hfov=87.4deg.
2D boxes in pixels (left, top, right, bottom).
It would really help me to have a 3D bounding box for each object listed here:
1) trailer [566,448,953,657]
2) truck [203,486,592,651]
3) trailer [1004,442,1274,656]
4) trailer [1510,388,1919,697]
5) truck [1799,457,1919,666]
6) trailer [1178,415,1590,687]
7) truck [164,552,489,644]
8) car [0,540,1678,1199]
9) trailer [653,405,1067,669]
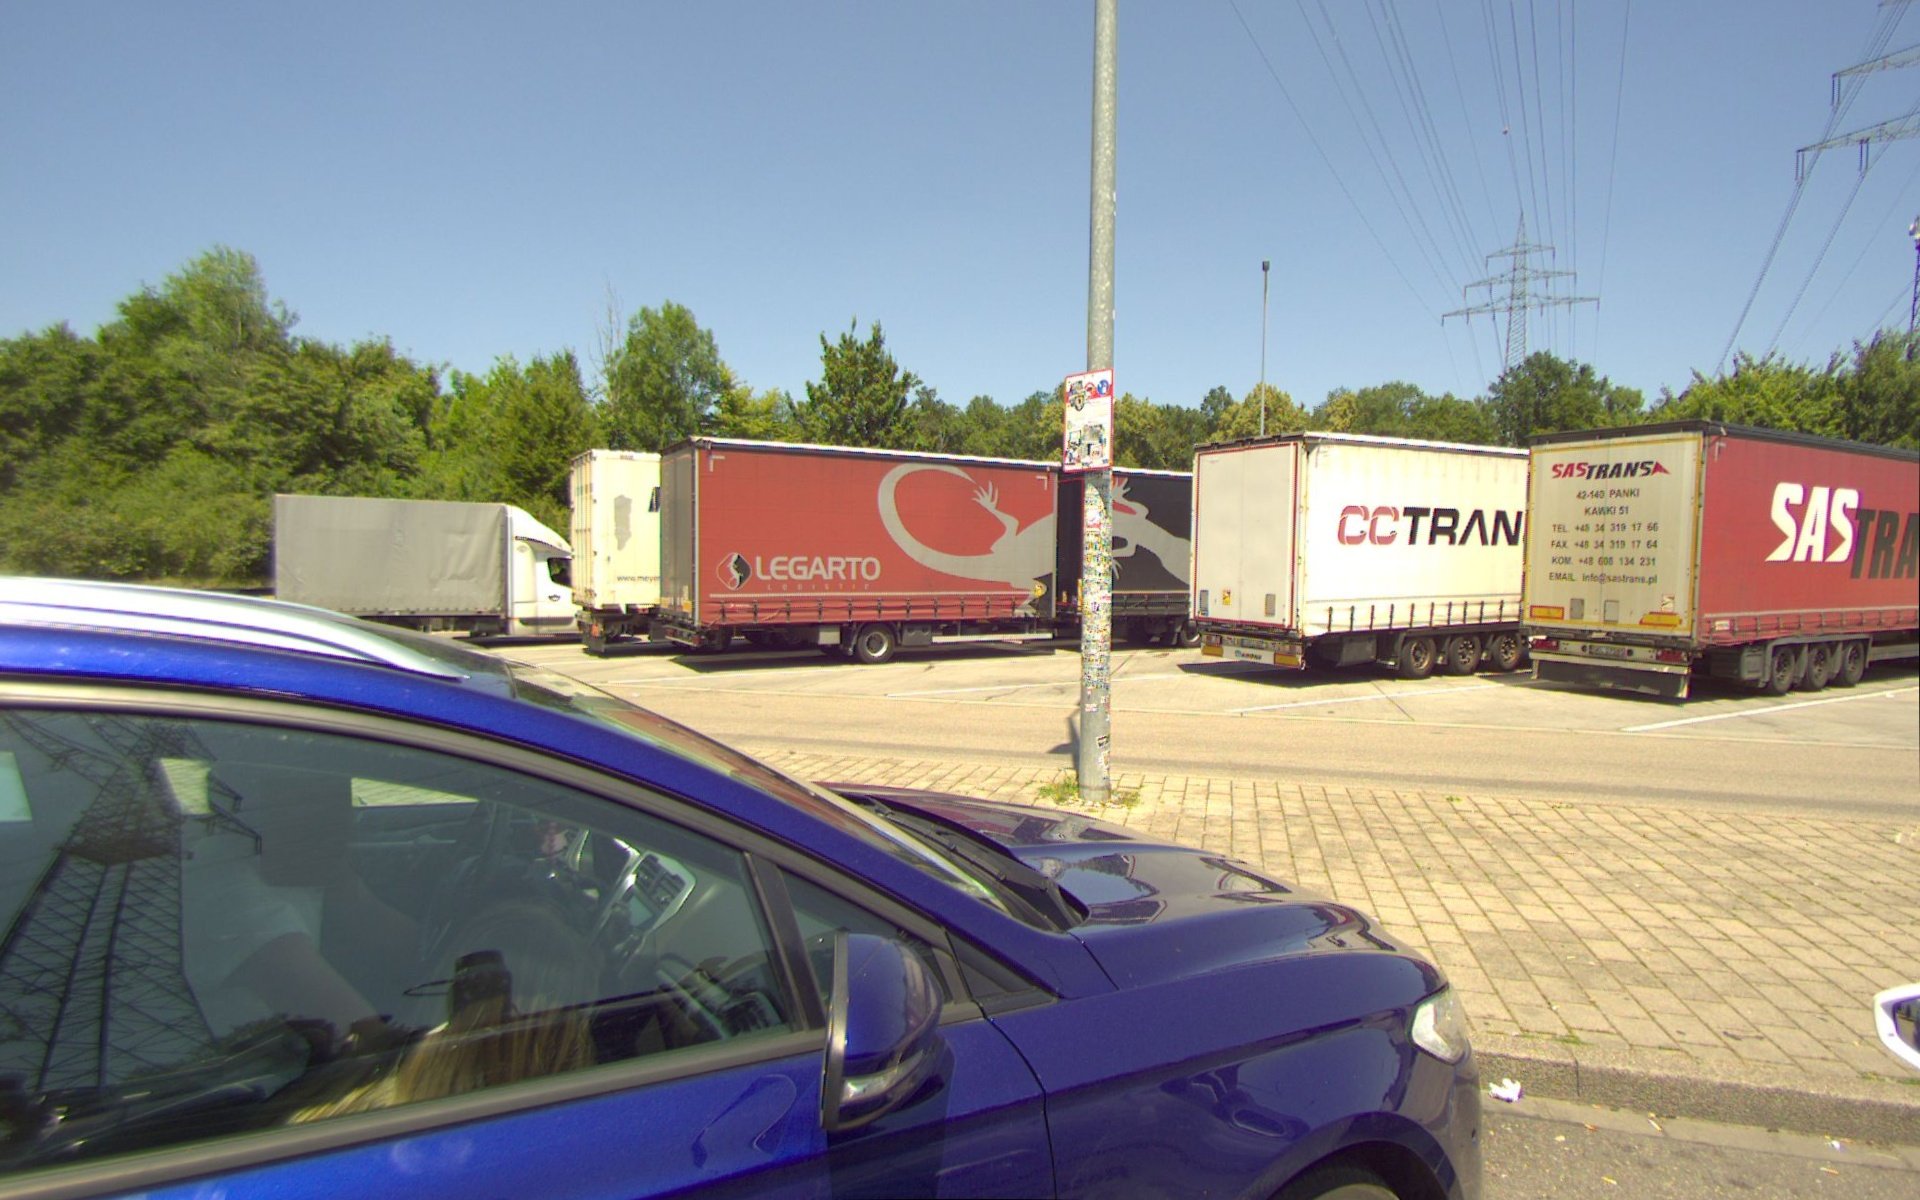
[{"bbox_3d":[-4.375,-0.911,22.739,8.189,4.053,2.720,0,0,-30],"label":"trailer"},{"bbox_3d":[-12.091,-0.597,22.206,7.171,3.194,2.160,0,1,-30],"label":"truck"},{"bbox_3d":[4.312,-1.063,23.912,6.076,4.504,2.665,0,0,-30],"label":"trailer"},{"bbox_3d":[15.262,-0.764,18.431,13.046,4.276,2.786,0,0,-31],"label":"trailer"},{"bbox_3d":[21.444,-0.760,22.067,5.824,4.189,2.792,0,0,-30],"label":"truck"},{"bbox_3d":[8.126,-0.762,18.839,8.189,4.208,2.741,0,1,-30],"label":"trailer"},{"bbox_3d":[-15.309,-0.029,24.788,6.538,2.040,1.984,0,0,-31],"label":"truck"},{"bbox_3d":[-0.996,0.674,1.491,4.362,1.437,1.731,1,0,-30],"label":"car"},{"bbox_3d":[-1.848,-1.059,20.314,7.963,4.510,2.648,0,0,-31],"label":"trailer"}]
